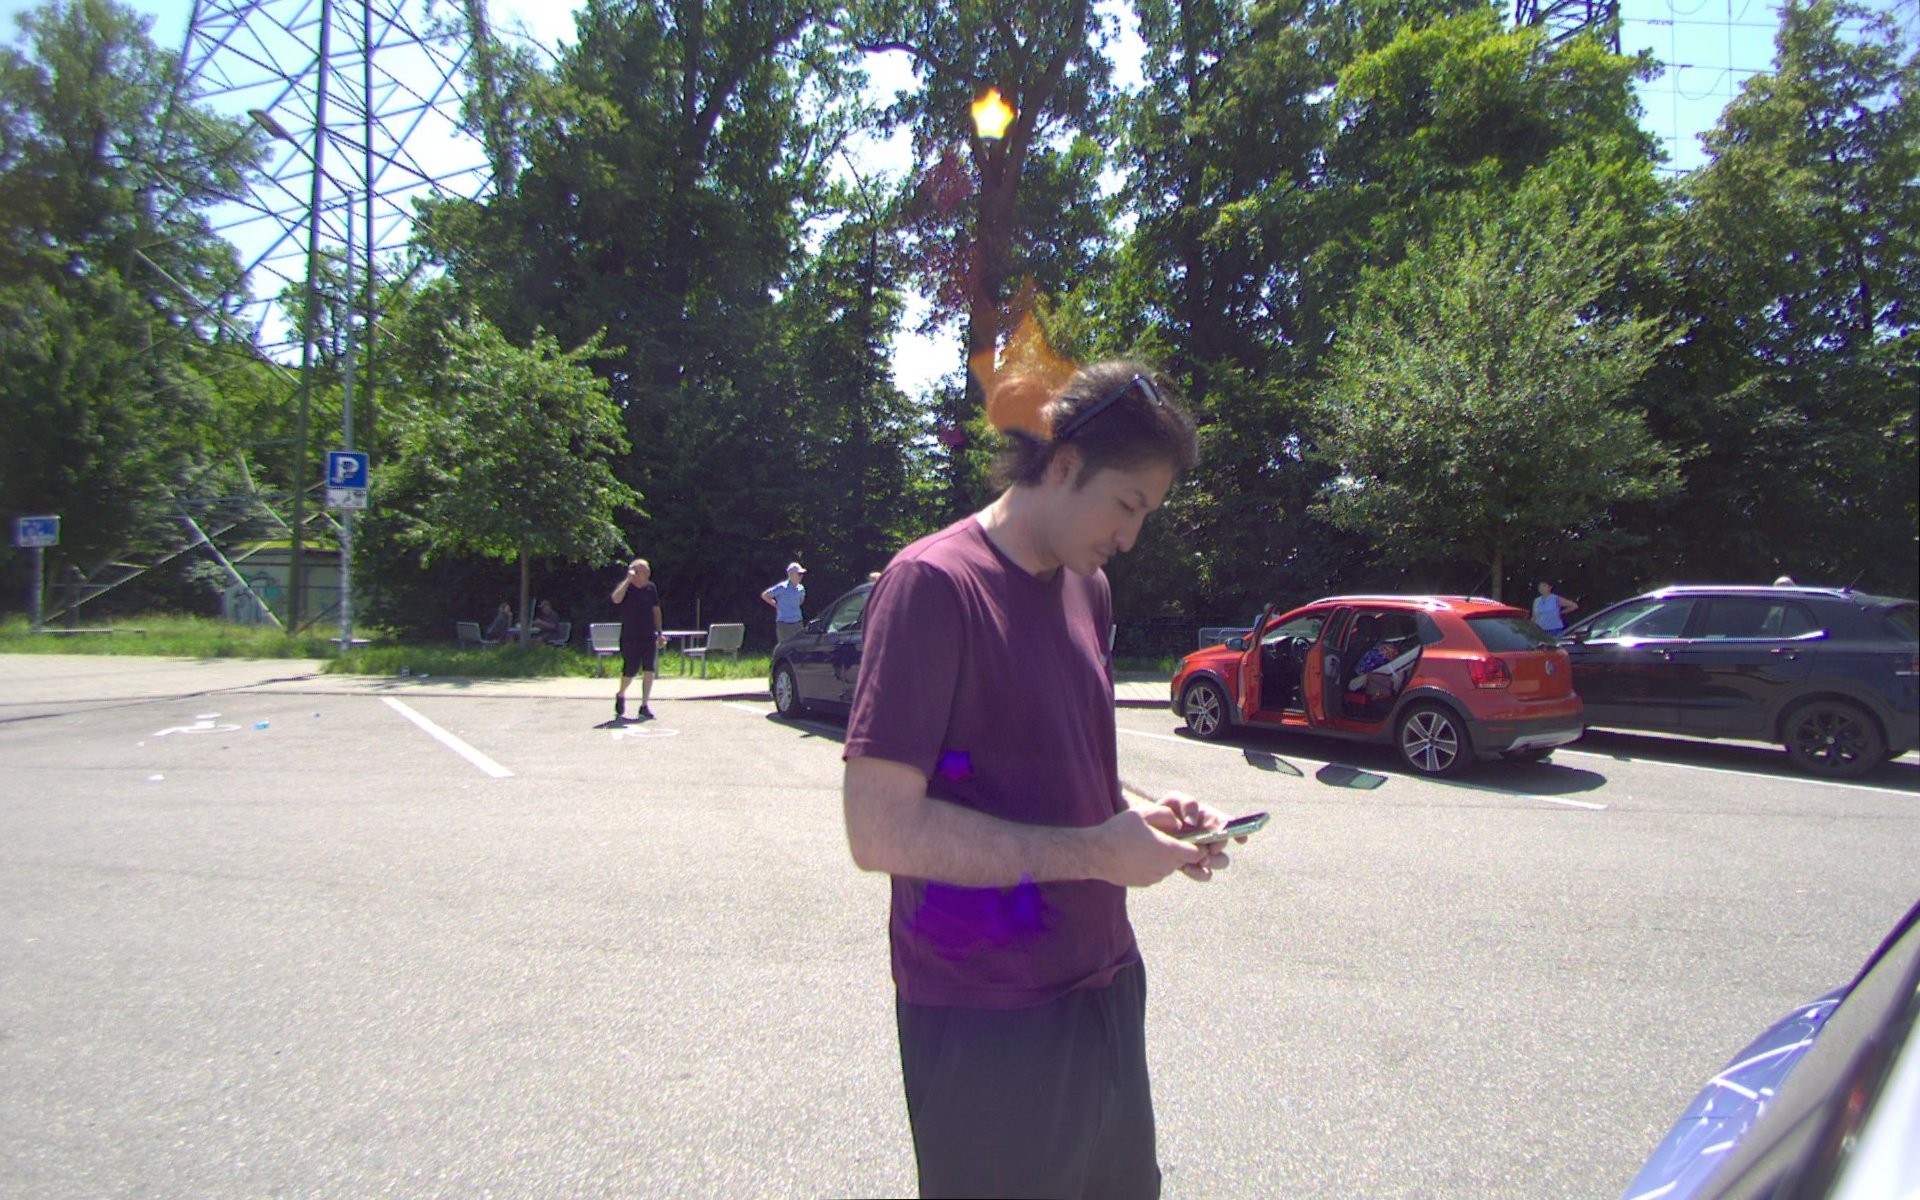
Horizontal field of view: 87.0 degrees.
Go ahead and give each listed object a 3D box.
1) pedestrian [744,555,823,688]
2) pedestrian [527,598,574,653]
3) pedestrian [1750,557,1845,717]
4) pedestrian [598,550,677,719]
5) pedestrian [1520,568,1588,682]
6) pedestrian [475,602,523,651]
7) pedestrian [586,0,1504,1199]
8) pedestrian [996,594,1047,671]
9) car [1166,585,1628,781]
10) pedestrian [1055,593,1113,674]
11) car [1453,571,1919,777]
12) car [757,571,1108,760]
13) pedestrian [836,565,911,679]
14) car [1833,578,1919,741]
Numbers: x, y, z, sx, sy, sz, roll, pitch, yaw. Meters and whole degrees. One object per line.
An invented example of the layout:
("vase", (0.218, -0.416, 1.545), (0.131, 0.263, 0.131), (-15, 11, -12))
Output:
("pedestrian", (-2.469, 0.288, 14.178), (0.786, 1.784, 0.809), (1, -1, -39))
("pedestrian", (-9.560, 0.592, 23.624), (0.796, 1.253, 0.713), (1, -1, -44))
("pedestrian", (10.219, 0.433, 12.376), (0.672, 1.889, 0.710), (0, -1, 19))
("pedestrian", (-3.727, 0.381, 11.660), (0.701, 1.851, 0.906), (1, -1, -27))
("pedestrian", (8.742, 0.353, 14.889), (0.712, 1.614, 0.797), (0, -1, 42))
("pedestrian", (-10.411, 0.585, 22.839), (0.796, 1.062, 0.714), (1, -1, -43))
("pedestrian", (0.131, 0.447, 1.360), (0.828, 1.797, 0.926), (0, -1, 45))
("pedestrian", (1.038, 0.541, 17.178), (0.656, 1.285, 0.655), (1, -1, -17))
("car", (3.923, 0.623, 9.644), (1.746, 1.475, 3.710), (1, 0, -33))
("pedestrian", (2.068, 0.551, 16.908), (0.656, 1.311, 0.832), (1, -1, -17))
("car", (7.204, 0.578, 9.831), (1.807, 1.612, 3.967), (1, 0, -38))
("car", (-0.488, 0.546, 10.692), (1.809, 1.588, 4.017), (1, 0, -35))
("pedestrian", (-1.265, 0.311, 14.851), (0.795, 1.614, 0.775), (1, -1, -38))
("car", (10.925, 0.602, 9.380), (1.745, 1.612, 3.972), (1, 0, -32))
